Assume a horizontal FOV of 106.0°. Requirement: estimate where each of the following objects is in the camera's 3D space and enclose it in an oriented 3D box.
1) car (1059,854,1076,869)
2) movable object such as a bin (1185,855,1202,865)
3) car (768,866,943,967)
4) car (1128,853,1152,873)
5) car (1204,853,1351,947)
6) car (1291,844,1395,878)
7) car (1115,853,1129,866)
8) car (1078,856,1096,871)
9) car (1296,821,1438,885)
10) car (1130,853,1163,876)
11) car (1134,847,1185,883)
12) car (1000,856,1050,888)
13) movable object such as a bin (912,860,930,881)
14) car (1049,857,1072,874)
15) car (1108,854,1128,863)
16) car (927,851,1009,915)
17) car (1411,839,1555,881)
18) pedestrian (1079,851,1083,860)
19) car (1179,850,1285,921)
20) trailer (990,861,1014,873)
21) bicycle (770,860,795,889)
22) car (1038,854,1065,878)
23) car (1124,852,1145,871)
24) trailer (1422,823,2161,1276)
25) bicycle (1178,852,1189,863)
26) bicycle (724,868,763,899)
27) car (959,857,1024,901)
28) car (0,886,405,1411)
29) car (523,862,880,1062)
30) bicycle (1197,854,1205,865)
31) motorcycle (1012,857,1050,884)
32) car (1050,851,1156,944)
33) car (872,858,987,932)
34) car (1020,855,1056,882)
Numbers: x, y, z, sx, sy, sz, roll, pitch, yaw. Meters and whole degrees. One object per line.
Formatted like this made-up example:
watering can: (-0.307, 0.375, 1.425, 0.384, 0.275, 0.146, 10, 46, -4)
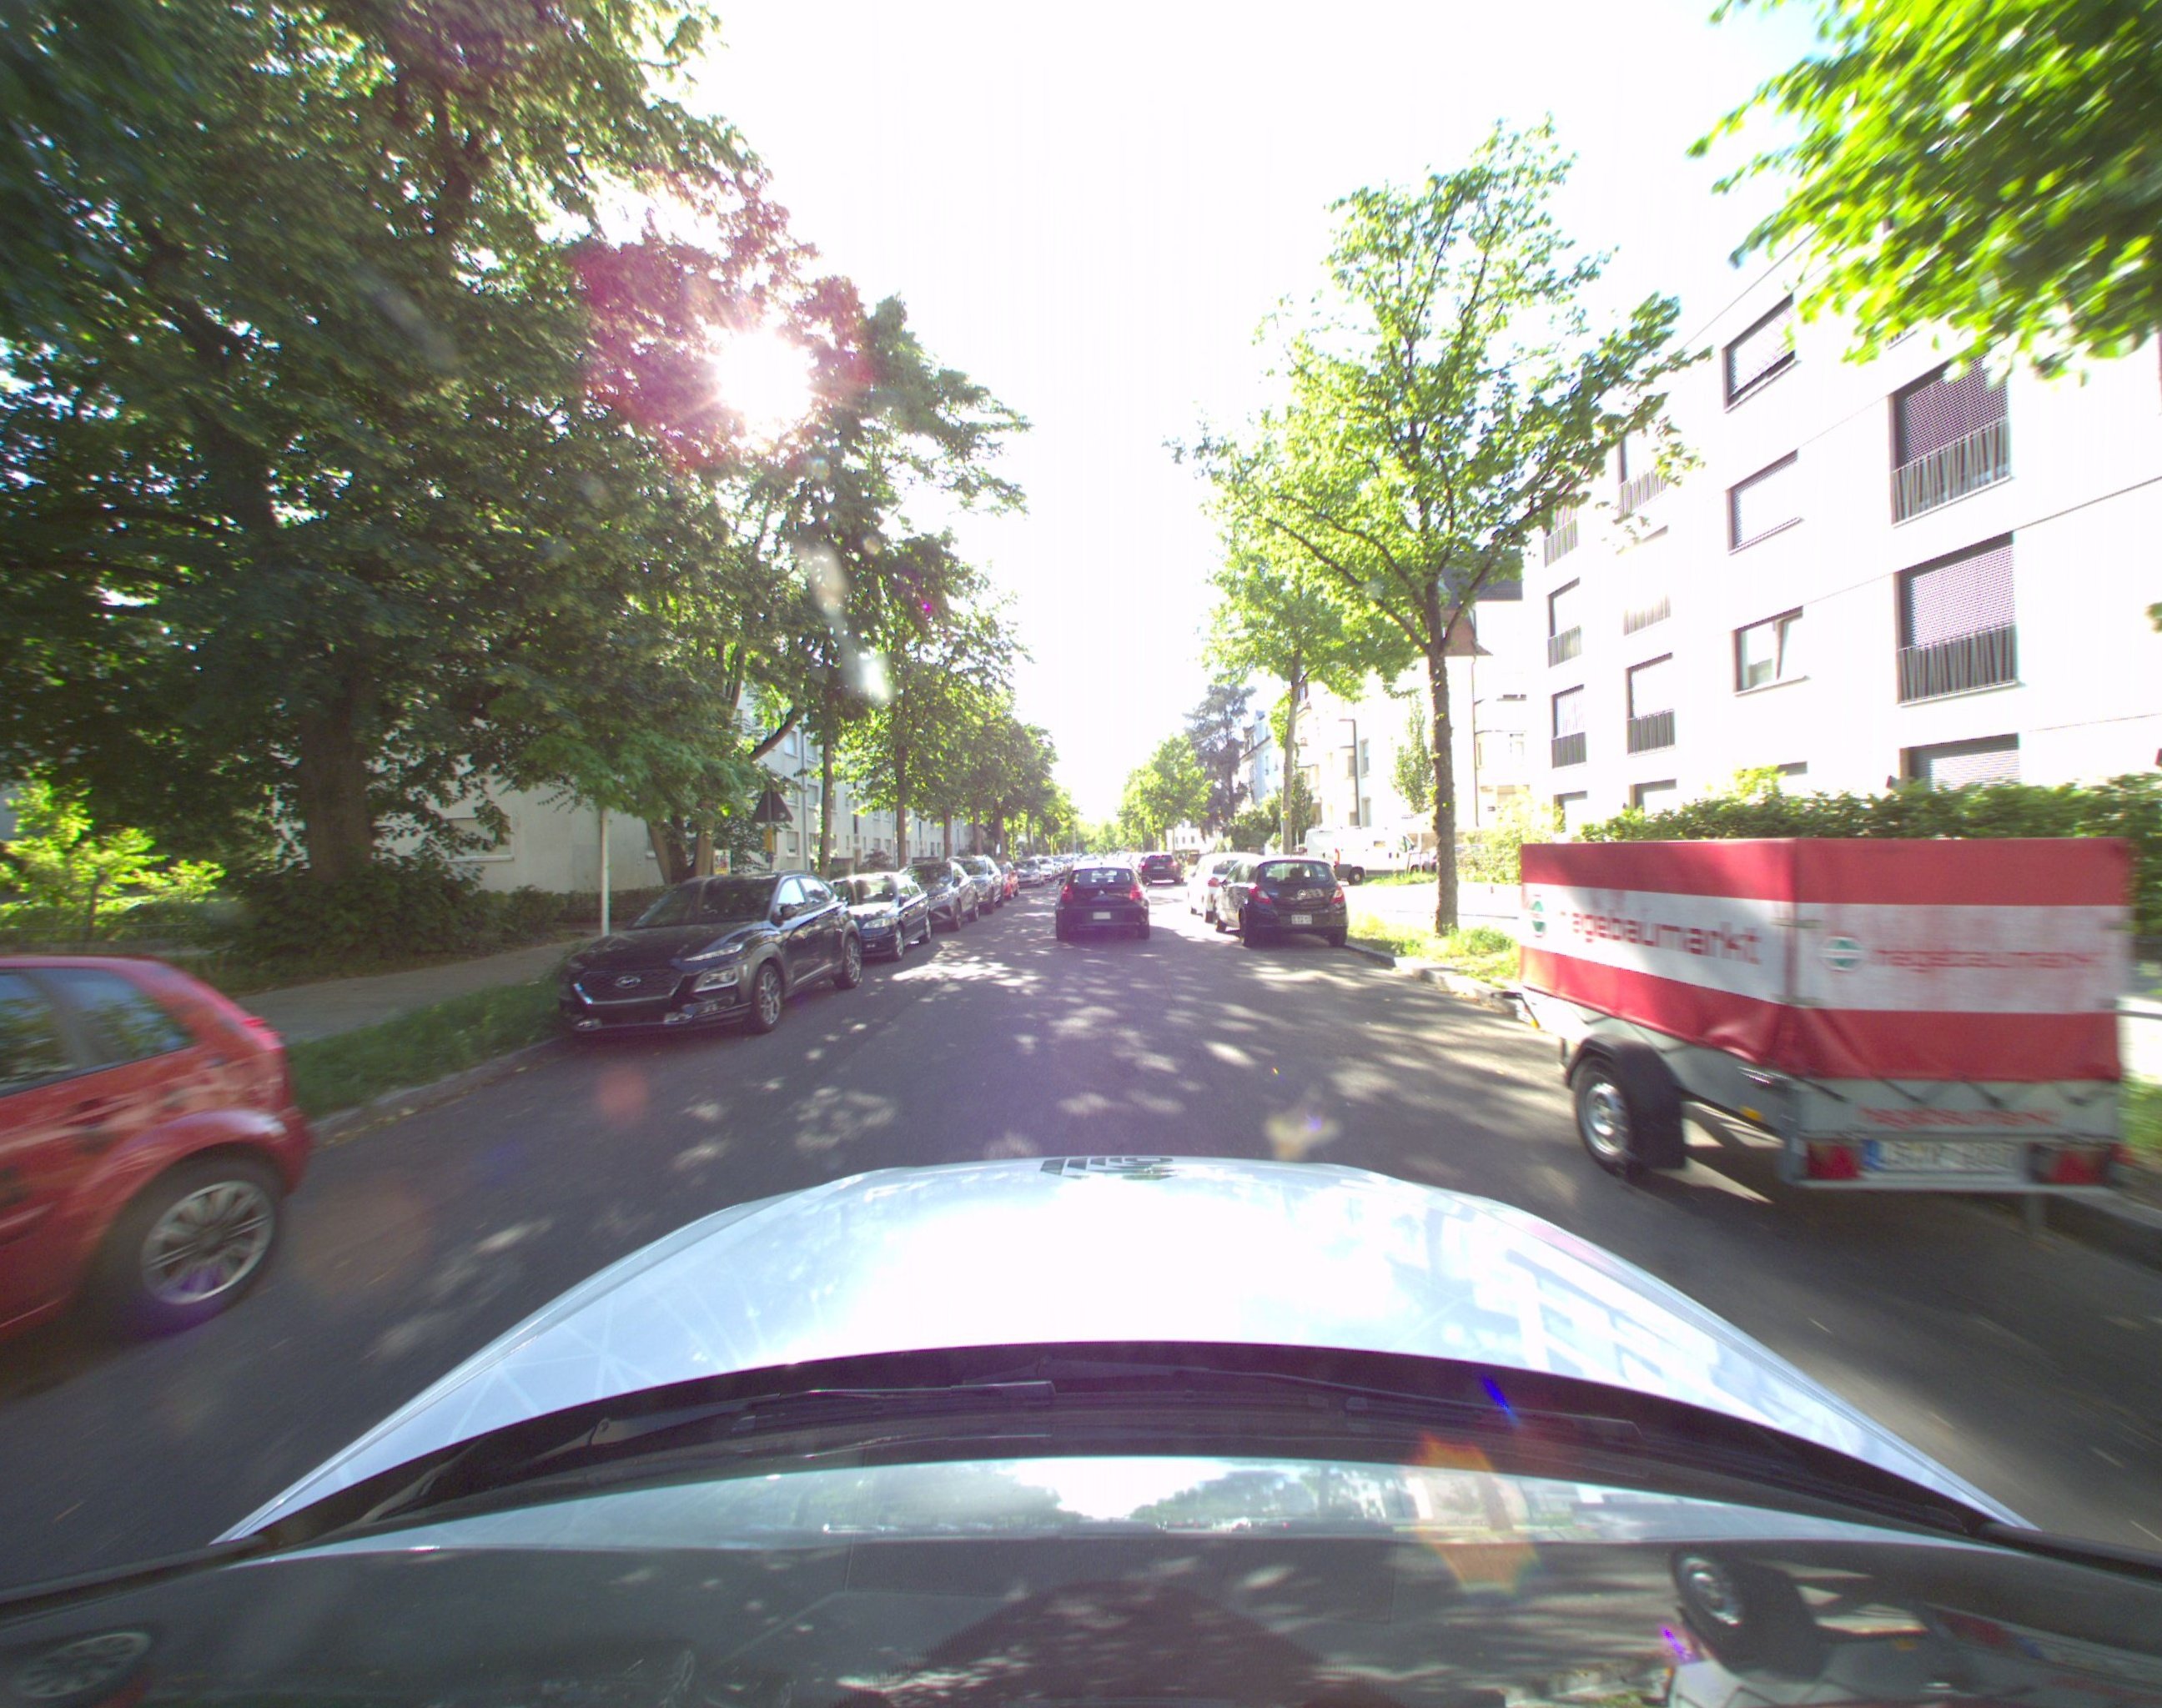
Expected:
car: (-1.527, 0.841, 95.258, 1.805, 1.596, 4.233, -3, 0, 1)
movable object such as a bin: (11.062, 0.603, 80.133, 1.211, 0.905, 1.673, -2, 0, 22)
car: (-3.738, 0.967, 14.369, 1.779, 1.352, 4.481, -3, 0, 0)
car: (4.704, 0.710, 65.784, 1.649, 1.532, 3.968, 0, 0, 0)
car: (3.386, 0.719, 14.785, 1.664, 1.450, 4.178, 0, 0, 0)
car: (12.820, 0.337, 40.081, 4.683, 1.469, 1.961, -2, -1, 15)
car: (6.284, 0.824, 125.246, 1.964, 1.949, 4.985, -2, 0, 1)
car: (0.677, 0.999, 88.287, 1.803, 1.445, 4.366, -4, 0, 0)
car: (11.327, -0.061, 32.283, 5.061, 2.306, 2.218, -2, 0, -23)
car: (4.381, 0.682, 55.069, 1.815, 1.469, 4.908, 0, 0, 0)
car: (3.612, 0.521, 38.327, 1.889, 1.524, 4.966, -1, -1, 0)
car: (-2.862, 0.908, 42.762, 2.035, 1.524, 4.609, -2, 0, 2)
movable object such as a bin: (-10.268, 1.041, 52.386, 0.928, 1.324, 1.377, -2, 0, -4)
car: (-1.849, 1.009, 74.807, 1.773, 1.379, 4.264, -4, 0, 2)
car: (7.621, 0.870, 166.849, 3.978, 1.587, 1.725, -2, 0, -3)
car: (-3.352, 0.801, 25.034, 1.762, 1.688, 4.814, -3, 0, 0)
car: (16.439, 0.223, 33.500, 4.913, 1.469, 2.047, -2, 0, -1)
pedestrian: (-0.005, 0.340, 178.072, 0.713, 1.900, 0.837, -2, 0, 0)
car: (3.464, 0.670, 19.356, 1.727, 1.487, 4.008, -1, 0, -1)
trailer: (-7.460, 1.217, 77.054, 1.781, 1.034, 3.284, -2, 0, 3)
bicycle: (-13.665, 0.933, 37.303, 0.397, 1.289, 1.914, -2, 0, 1)
car: (-2.198, 0.865, 62.341, 1.723, 1.618, 4.366, -5, 0, 0)
car: (4.916, 0.667, 75.366, 1.918, 1.651, 5.099, 0, 0, 3)
trailer: (3.241, 0.682, 4.472, 1.568, 1.579, 3.195, 0, 0, 3)
bicycle: (11.630, 0.401, 92.500, 0.836, 1.257, 2.229, -1, 0, -2)
bicycle: (-13.933, 1.199, 33.666, 0.683, 1.201, 1.913, -2, 0, 3)
car: (-3.349, 0.904, 31.295, 1.849, 1.469, 4.183, -2, 0, 2)
car: (-4.070, 0.941, 1.819, 1.649, 1.505, 4.068, -3, 0, 0)
car: (-3.779, 0.941, 9.155, 1.699, 1.577, 4.484, -3, 0, 2)
bicycle: (11.275, 0.526, 76.621, 0.579, 0.975, 1.905, -3, 0, 3)
motorcycle: (-2.868, 0.948, 46.616, 0.994, 1.503, 2.208, -3, 0, -39)
car: (0.471, 0.751, 16.091, 1.775, 1.523, 4.003, -3, 0, 2)
car: (-3.536, 0.894, 19.798, 1.762, 1.531, 4.422, -2, 0, 2)
car: (-2.624, 0.842, 50.592, 2.058, 1.524, 4.718, -2, 0, -2)
